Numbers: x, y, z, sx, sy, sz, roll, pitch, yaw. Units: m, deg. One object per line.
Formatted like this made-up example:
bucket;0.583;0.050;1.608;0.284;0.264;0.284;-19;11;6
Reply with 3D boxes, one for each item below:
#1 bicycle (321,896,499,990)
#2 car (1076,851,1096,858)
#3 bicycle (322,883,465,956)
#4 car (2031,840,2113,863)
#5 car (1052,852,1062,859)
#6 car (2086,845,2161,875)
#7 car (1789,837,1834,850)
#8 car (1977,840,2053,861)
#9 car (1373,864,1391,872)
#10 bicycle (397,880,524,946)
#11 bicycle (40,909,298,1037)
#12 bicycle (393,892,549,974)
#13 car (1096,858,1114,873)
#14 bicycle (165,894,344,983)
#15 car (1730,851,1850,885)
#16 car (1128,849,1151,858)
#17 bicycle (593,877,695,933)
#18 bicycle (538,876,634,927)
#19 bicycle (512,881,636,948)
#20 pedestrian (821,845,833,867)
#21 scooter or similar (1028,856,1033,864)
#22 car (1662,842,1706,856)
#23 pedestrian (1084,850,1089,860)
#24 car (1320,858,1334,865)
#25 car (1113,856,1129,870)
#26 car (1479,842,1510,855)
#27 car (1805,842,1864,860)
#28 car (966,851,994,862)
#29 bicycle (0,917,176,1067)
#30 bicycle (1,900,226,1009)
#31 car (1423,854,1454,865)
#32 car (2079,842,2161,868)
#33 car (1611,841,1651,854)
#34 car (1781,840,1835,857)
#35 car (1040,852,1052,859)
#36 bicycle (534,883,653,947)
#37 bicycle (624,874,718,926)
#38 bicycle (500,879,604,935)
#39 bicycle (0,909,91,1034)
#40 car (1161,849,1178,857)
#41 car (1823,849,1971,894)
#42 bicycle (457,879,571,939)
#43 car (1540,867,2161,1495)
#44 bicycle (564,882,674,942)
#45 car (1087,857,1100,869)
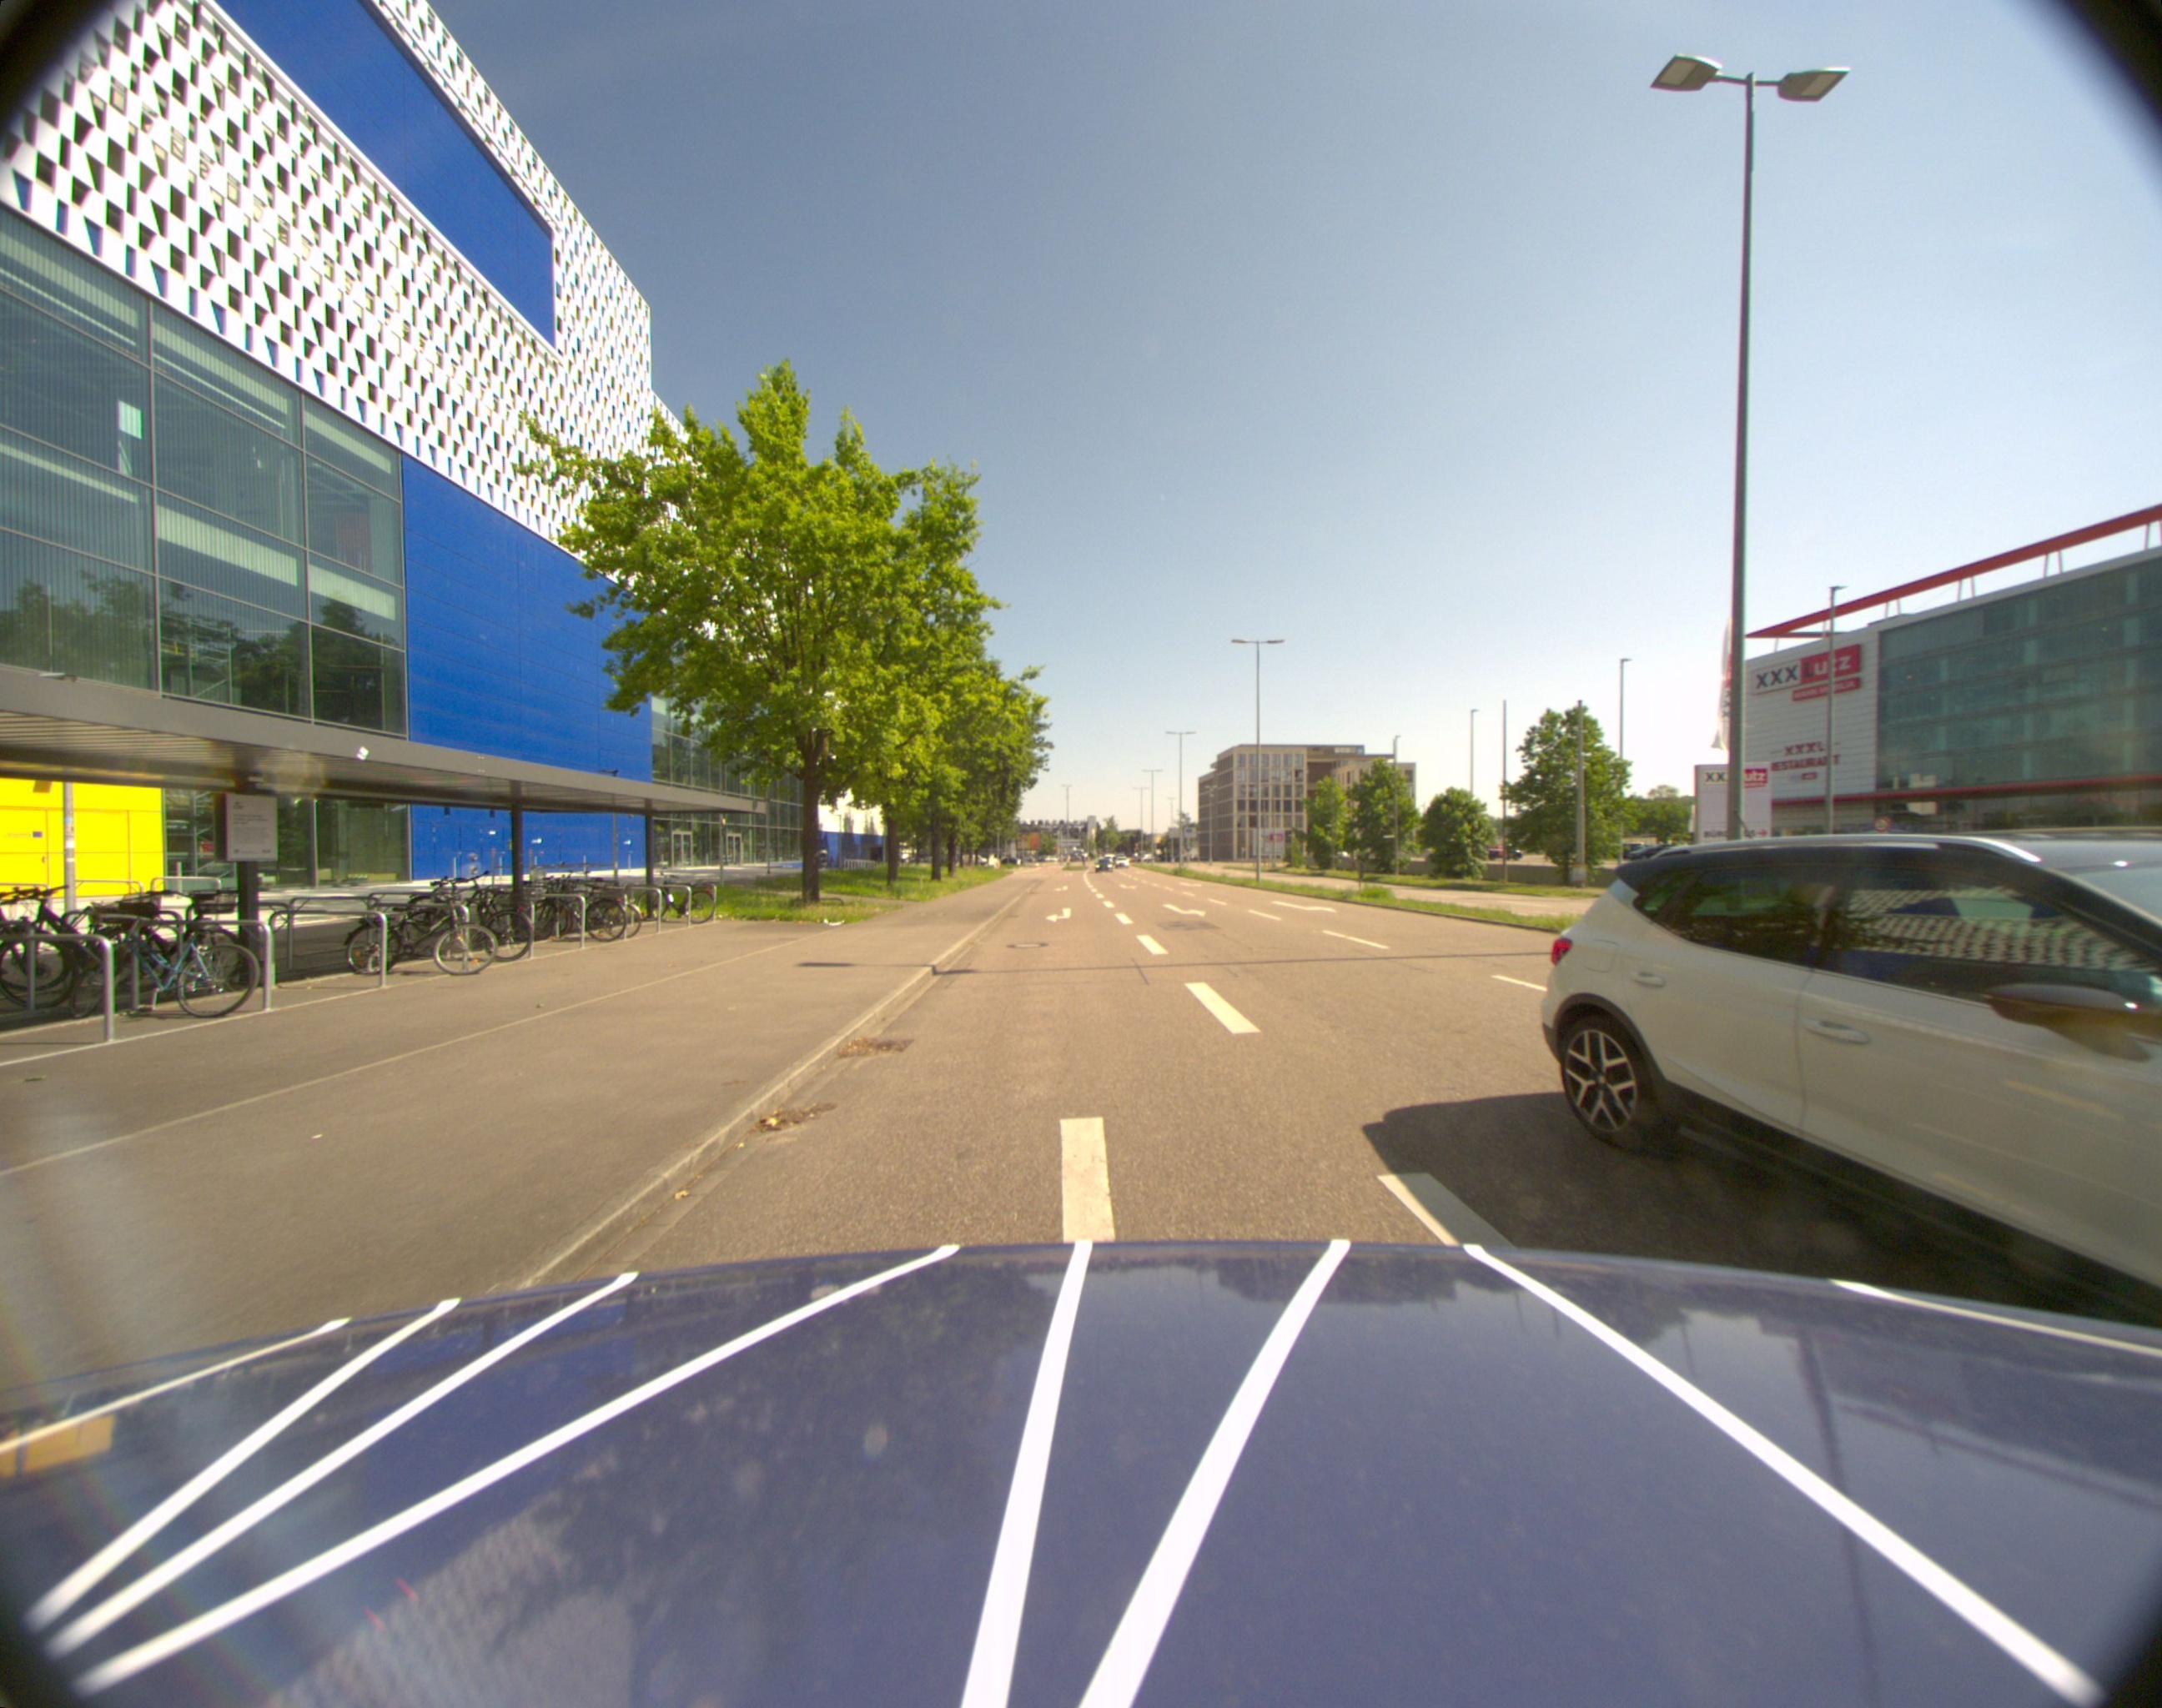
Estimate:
bicycle;-8.232;1.082;9.351;1.763;1.090;0.452;0;0;-1
car;1.109;0.066;169.644;4.479;1.578;1.979;0;1;0
bicycle;-10.599;1.002;11.734;1.763;1.090;0.452;0;0;-1
car;60.763;-0.152;46.611;3.096;1.322;1.515;-1;2;-2
car;-5.213;0.249;166.467;1.887;1.452;4.000;-1;1;4
car;50.470;0.273;35.740;4.501;1.322;1.515;-1;2;-2
car;73.149;-1.052;76.060;3.096;1.322;1.515;-1;2;-2
car;60.124;-0.207;48.932;3.096;1.286;1.515;-1;2;-2
car;38.938;1.831;98.303;1.942;0.970;1.070;-1;2;-4
bicycle;-10.575;1.003;12.966;1.763;1.090;0.452;0;0;-1
bicycle;-8.275;1.065;6.927;1.763;1.090;0.452;0;0;-1
bicycle;-8.386;1.077;10.475;1.763;1.090;0.452;0;0;-1
car;2.559;1.239;81.162;1.770;1.455;4.241;1;-3;2
bicycle;-10.600;1.074;9.774;1.763;1.090;0.452;0;0;-1
car;35.708;0.690;38.342;4.425;1.618;1.870;0;2;-3
car;11.654;-0.110;151.803;4.229;1.701;1.903;0;1;-3
bicycle;-8.810;1.023;15.340;1.763;1.090;0.463;0;0;-1
bicycle;-10.678;1.018;16.424;1.763;1.090;0.452;0;0;-1
bicycle;-8.510;1.012;12.777;1.763;1.090;0.452;0;0;-1
pedestrian;-18.659;0.125;55.804;0.690;1.602;0.771;0;0;-5
scooter or similar;-7.715;0.847;115.520;0.402;1.160;1.185;0;2;16
car;59.852;-0.497;75.429;3.223;1.322;1.515;-1;2;-2
pedestrian;0.968;0.240;133.033;0.704;1.769;0.961;0;1;24
car;39.235;1.182;120.973;1.942;0.970;0.889;-1;2;-4
car;5.648;1.289;108.275;2.025;1.827;4.310;-1;2;-1
car;49.059;-0.635;90.189;2.774;1.547;1.774;0;0;-2
car;60.552;-0.245;61.107;3.096;1.322;1.703;-1;2;-2
car;-19.031;0.485;143.446;4.998;1.996;1.740;0;2;-3
bicycle;-8.234;1.057;5.928;1.763;1.090;0.452;0;0;-1
bicycle;-10.256;1.051;8.084;1.763;1.090;0.452;0;0;-1
car;34.474;0.534;73.263;2.520;1.053;1.070;-1;2;-4
car;54.737;0.054;39.951;2.874;1.322;1.314;-1;2;-2
car;57.948;-0.670;80.079;3.096;1.322;1.515;-1;2;-2
car;60.728;-0.476;63.512;3.096;1.322;1.515;-1;2;-2
car;-7.664;0.297;166.252;1.998;1.452;4.001;0;0;4
bicycle;-8.514;1.061;13.302;1.763;1.090;0.452;0;0;-1
bicycle;-8.836;0.992;16.395;1.763;1.090;0.452;0;1;-1
bicycle;-10.687;1.063;15.360;1.763;1.090;0.452;0;0;-1
bicycle;-10.337;1.067;6.983;1.833;1.090;0.452;0;0;-1
car;23.168;-0.309;199.553;3.991;2.002;2.003;0;1;20
car;35.599;0.742;33.216;4.424;1.832;1.945;0;1;-2
bicycle;-10.603;1.016;14.237;1.763;1.090;0.452;0;0;-1
car;3.400;0.794;2.293;1.635;1.489;3.871;-1;-2;0
bicycle;-8.637;1.082;14.229;1.763;1.090;0.452;0;0;-1
car;1.907;1.400;115.907;1.833;1.703;3.764;-1;2;-1
